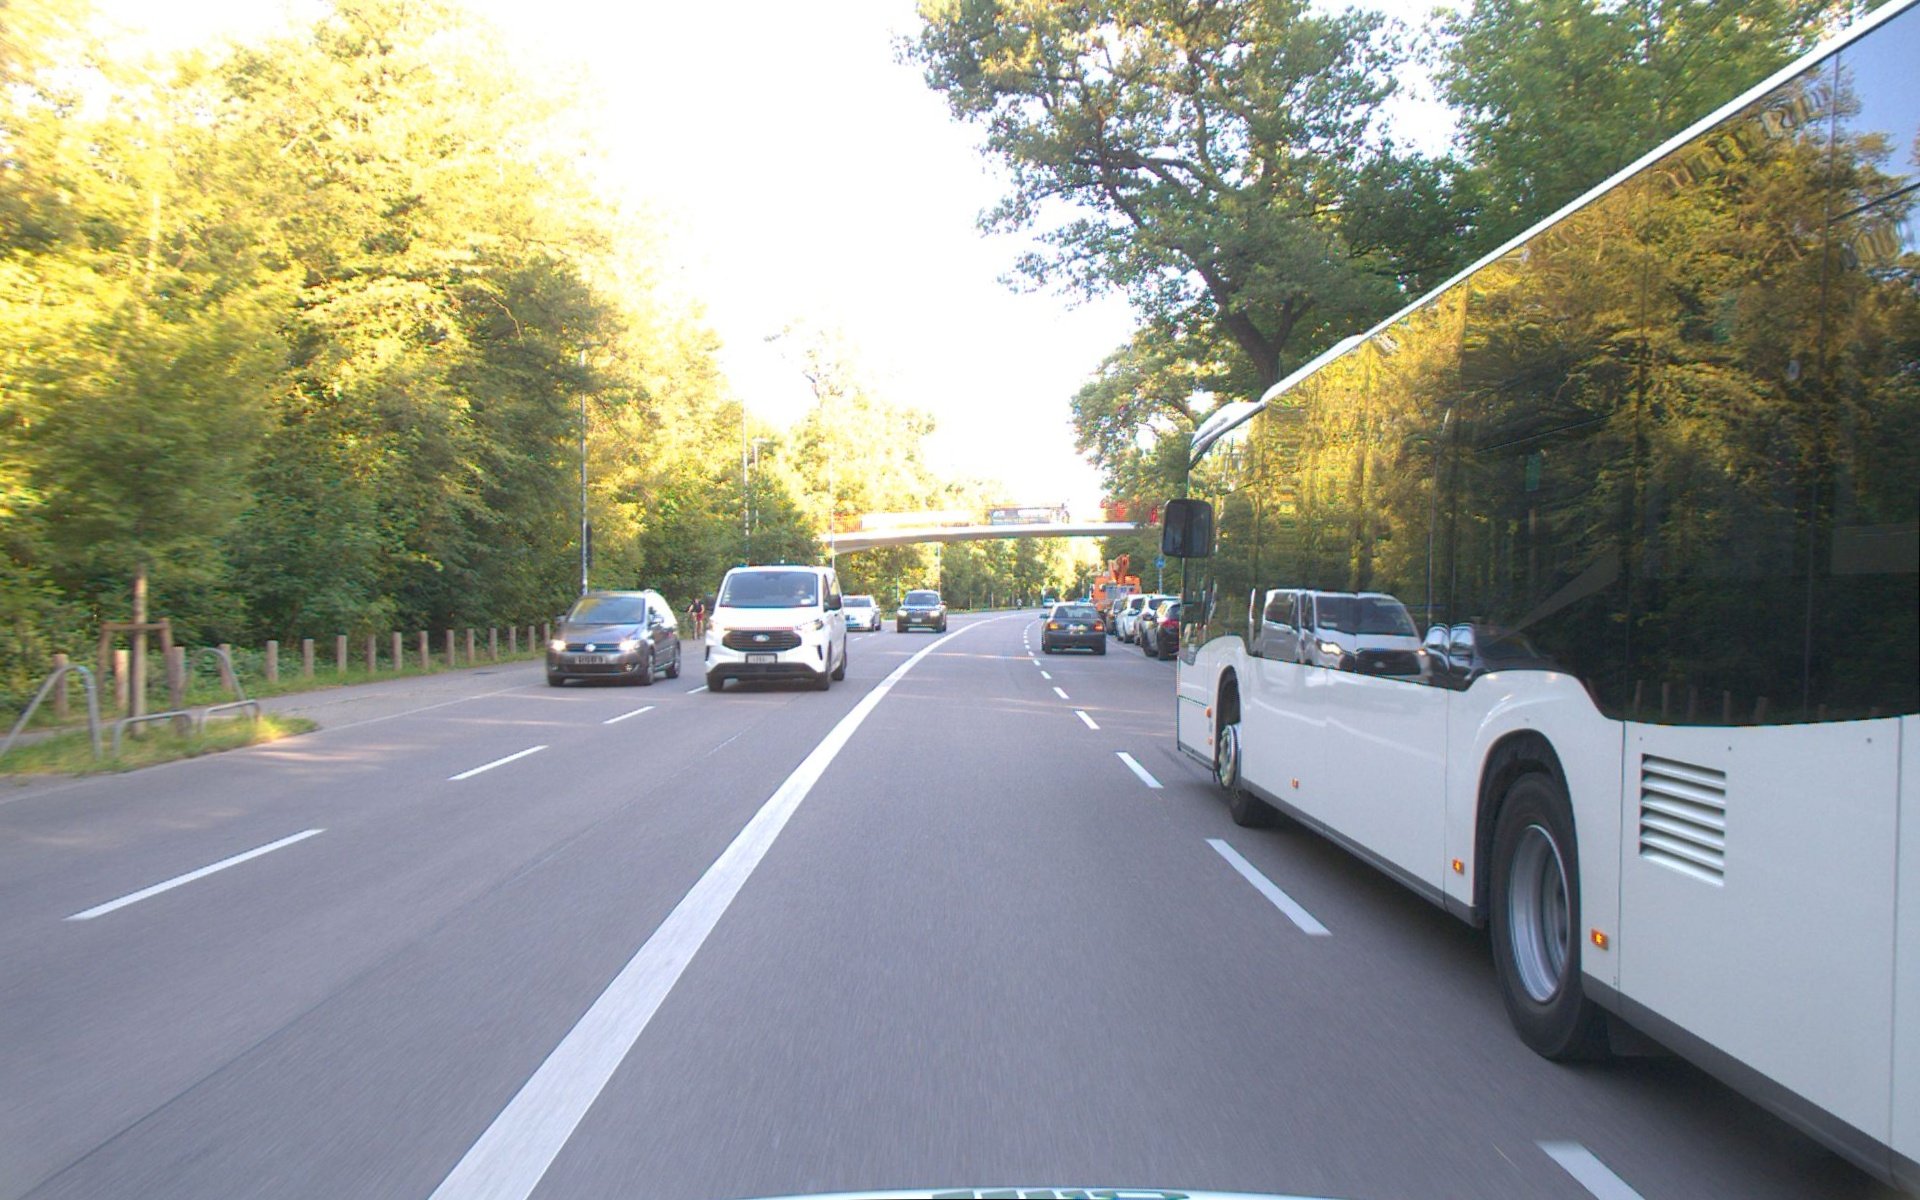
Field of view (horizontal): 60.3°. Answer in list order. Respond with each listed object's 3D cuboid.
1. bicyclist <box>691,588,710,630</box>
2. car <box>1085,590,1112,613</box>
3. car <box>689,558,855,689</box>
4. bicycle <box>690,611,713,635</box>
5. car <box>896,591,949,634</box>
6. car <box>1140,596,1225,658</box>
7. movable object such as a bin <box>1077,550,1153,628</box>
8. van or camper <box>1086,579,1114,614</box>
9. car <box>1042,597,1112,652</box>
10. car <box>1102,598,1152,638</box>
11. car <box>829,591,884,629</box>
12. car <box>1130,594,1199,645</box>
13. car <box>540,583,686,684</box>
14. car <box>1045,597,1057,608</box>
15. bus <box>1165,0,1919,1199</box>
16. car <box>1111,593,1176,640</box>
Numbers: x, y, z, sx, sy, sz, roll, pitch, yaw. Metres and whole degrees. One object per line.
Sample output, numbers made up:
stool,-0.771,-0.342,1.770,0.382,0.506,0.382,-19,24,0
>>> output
bicyclist,-9.422,0.332,60.027,0.489,1.510,0.761,-2,0,1
car,9.742,0.120,115.961,1.686,1.522,3.778,-3,0,7
car,-3.030,0.363,27.702,2.161,1.995,4.913,0,0,1
bicycle,-9.399,0.833,60.178,0.484,0.828,1.808,-3,0,1
car,-1.520,0.500,68.214,1.878,1.734,4.443,0,0,2
car,5.725,0.662,42.951,1.692,1.551,4.090,0,0,0
movable object such as a bin,7.140,-0.500,77.177,2.702,3.429,7.599,0,0,-1
van or camper,10.741,-0.260,127.186,2.074,2.561,5.983,-1,0,4
car,3.232,0.666,46.310,1.692,1.467,4.090,0,0,0
car,6.931,0.734,69.090,1.692,1.601,4.090,0,0,0
car,-4.352,0.418,69.894,1.858,1.558,4.530,0,0,2
car,6.494,0.598,52.862,1.692,1.569,4.090,0,0,0
car,-5.973,0.540,28.933,1.763,1.627,3.999,0,0,-1
car,13.567,0.379,247.299,1.646,1.431,3.892,-2,-1,5
bus,3.208,-0.022,8.393,2.649,3.278,12.276,0,0,-1
car,6.403,0.561,58.141,1.800,1.601,4.459,0,0,0
